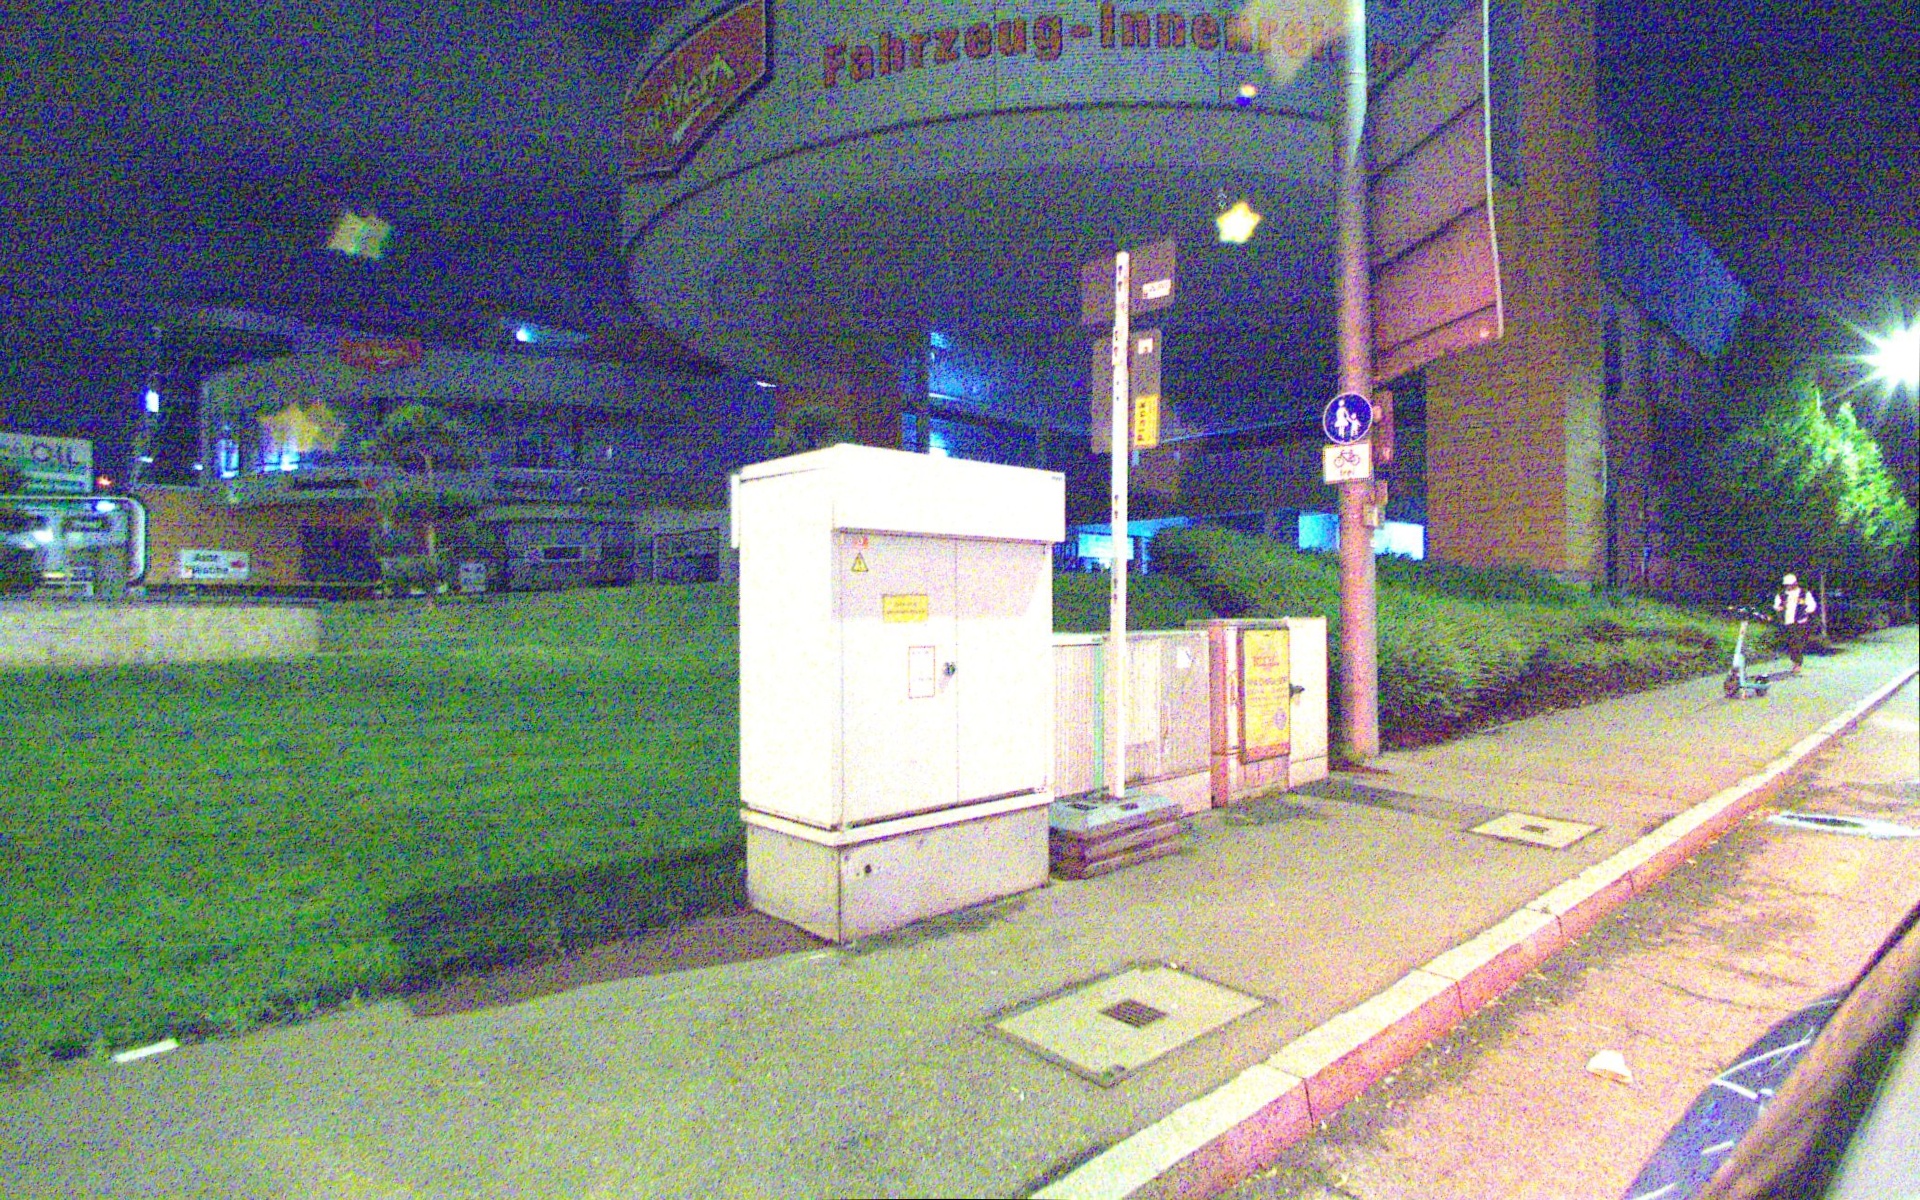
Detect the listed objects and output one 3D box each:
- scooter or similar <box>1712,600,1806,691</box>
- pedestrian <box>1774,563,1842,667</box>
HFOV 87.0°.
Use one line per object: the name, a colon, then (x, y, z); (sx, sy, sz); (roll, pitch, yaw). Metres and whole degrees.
scooter or similar: (11.028, 0.617, 13.976); (1.111, 1.217, 0.470); (1, -1, -17)
pedestrian: (16.024, 0.269, 19.118); (1.016, 1.888, 0.819); (0, 0, -41)
